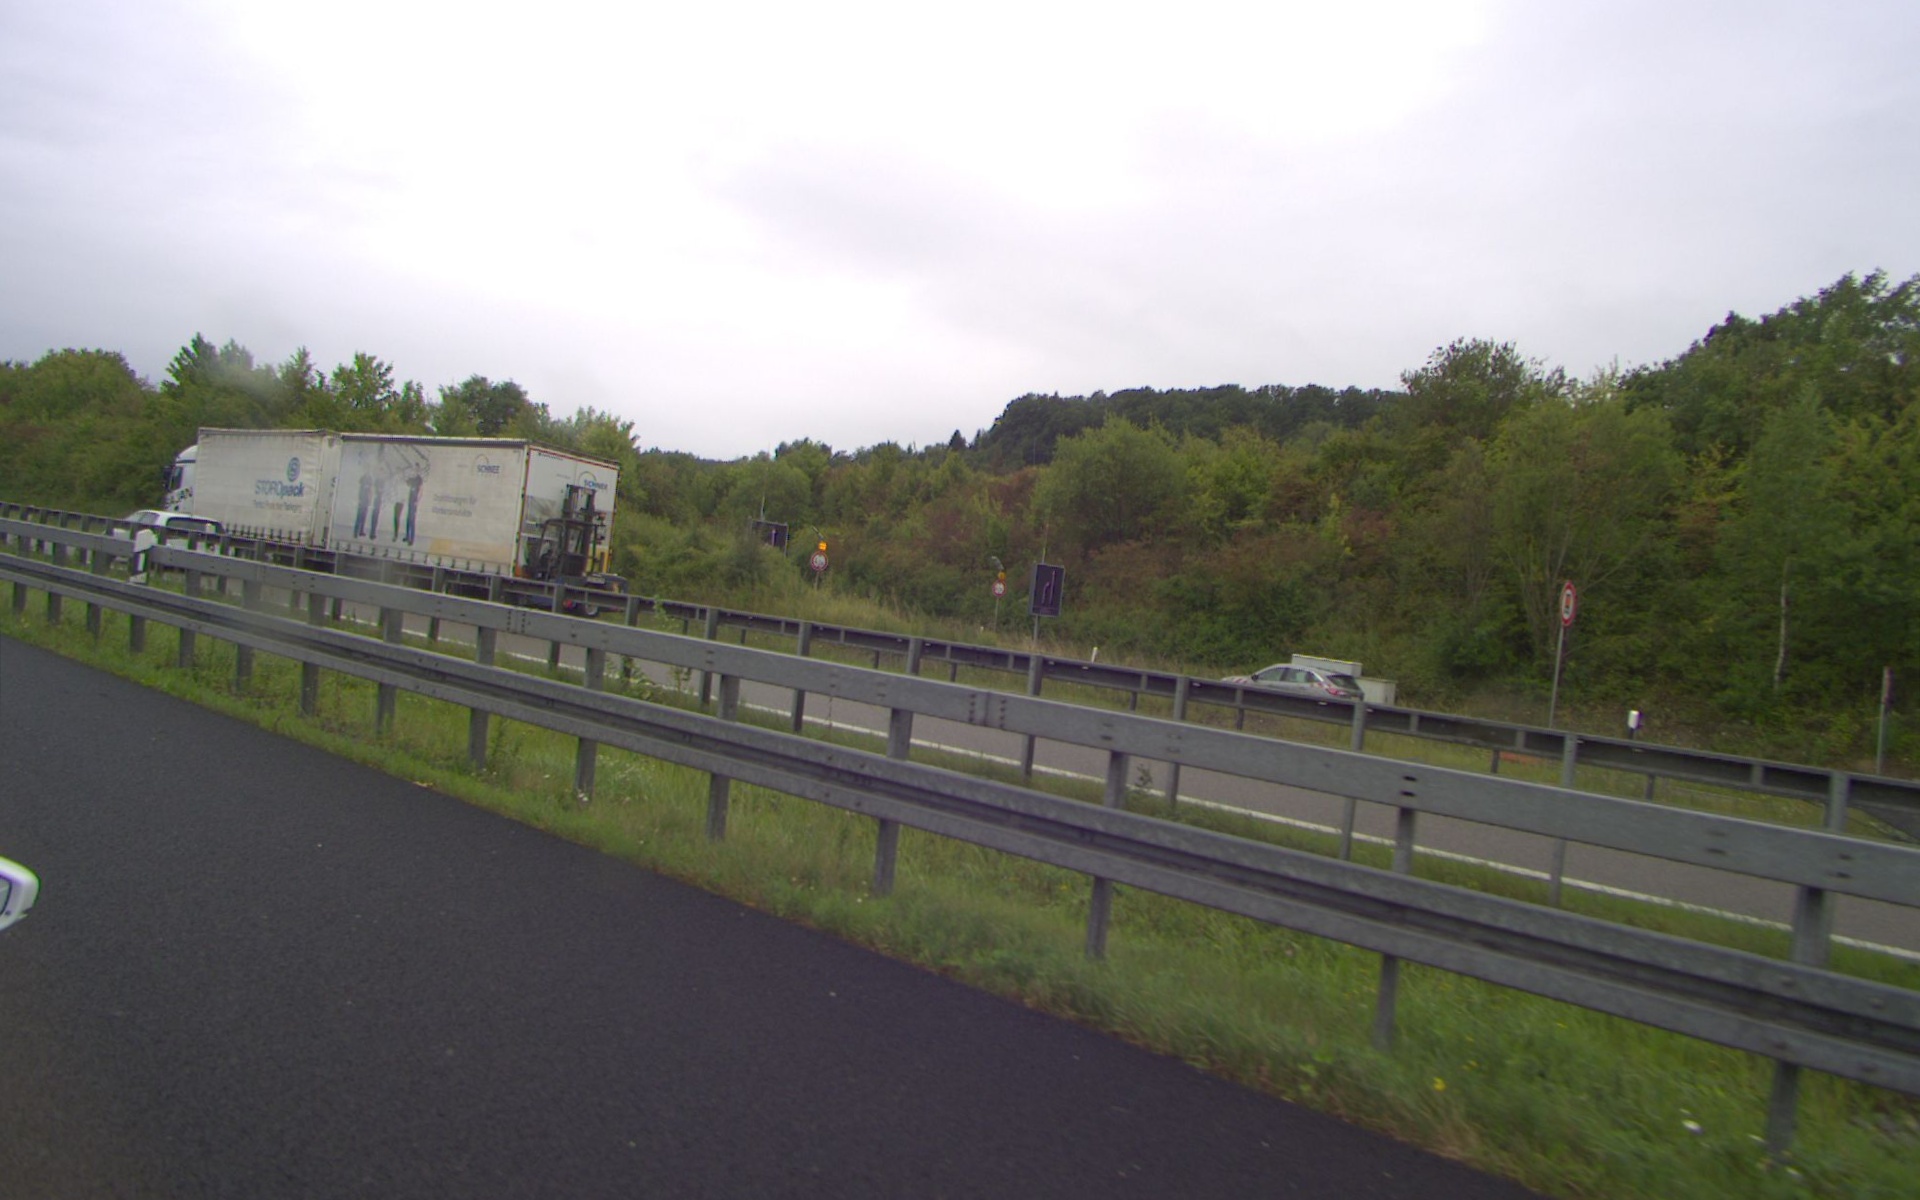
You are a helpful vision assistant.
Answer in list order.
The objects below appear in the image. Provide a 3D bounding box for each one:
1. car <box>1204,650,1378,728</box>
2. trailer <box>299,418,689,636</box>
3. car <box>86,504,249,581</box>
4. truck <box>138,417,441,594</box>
[{"bbox_3d":[9.799,2.620,29.988,4.442,1.633,1.855,6,-1,45],"label":"car"},{"bbox_3d":[-11.932,-1.964,25.224,10.281,4.341,3.442,7,0,32],"label":"trailer"},{"bbox_3d":[-20.235,-1.474,25.648,4.088,1.465,1.863,7,-1,31],"label":"car"},{"bbox_3d":[-20.640,-2.980,30.690,10.245,4.341,3.442,7,0,32],"label":"truck"}]
